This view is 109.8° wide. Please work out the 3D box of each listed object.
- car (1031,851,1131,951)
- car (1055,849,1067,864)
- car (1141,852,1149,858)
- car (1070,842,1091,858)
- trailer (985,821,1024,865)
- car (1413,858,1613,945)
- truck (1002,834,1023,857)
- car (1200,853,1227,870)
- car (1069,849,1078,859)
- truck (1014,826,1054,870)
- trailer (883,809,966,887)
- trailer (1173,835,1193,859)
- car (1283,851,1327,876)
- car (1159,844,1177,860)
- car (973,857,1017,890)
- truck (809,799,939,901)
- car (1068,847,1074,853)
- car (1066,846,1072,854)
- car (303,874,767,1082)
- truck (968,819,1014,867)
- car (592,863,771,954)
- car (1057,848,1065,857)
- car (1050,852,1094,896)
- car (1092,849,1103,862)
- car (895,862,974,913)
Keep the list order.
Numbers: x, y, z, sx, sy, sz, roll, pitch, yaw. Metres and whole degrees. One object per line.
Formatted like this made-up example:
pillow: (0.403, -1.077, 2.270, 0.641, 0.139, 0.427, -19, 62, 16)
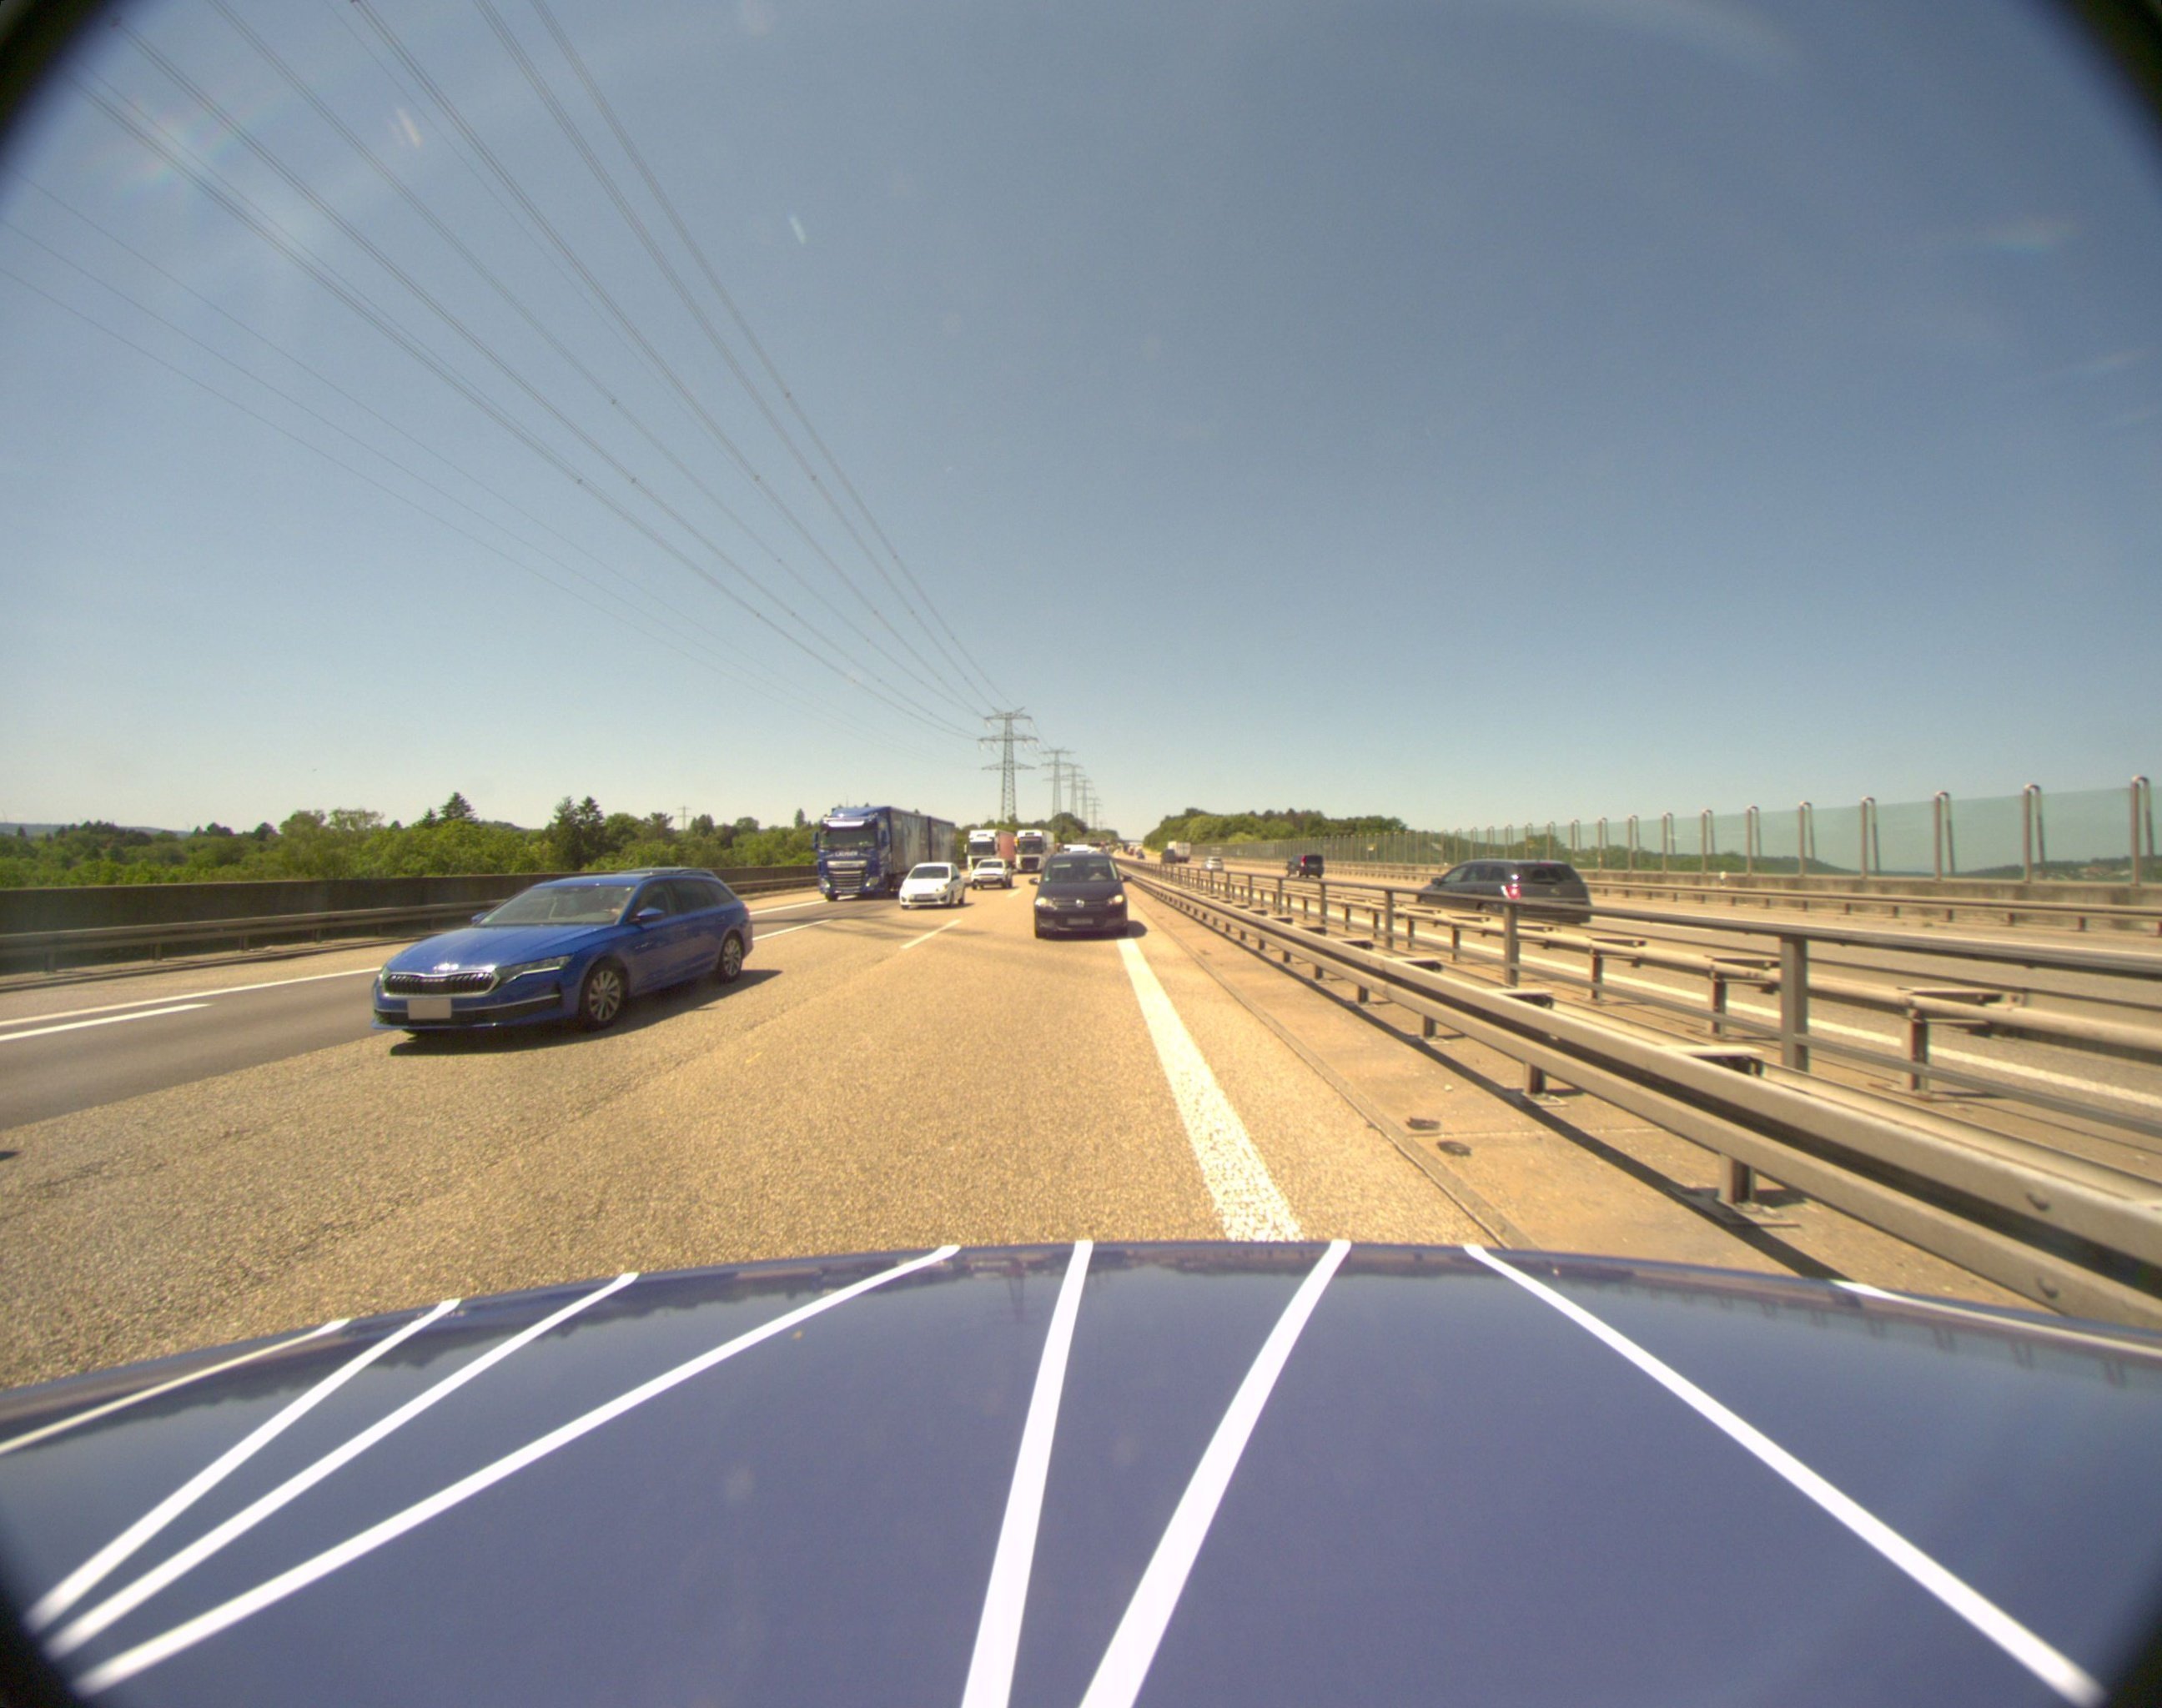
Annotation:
car: (0.017, 0.816, 15.351, 1.713, 1.669, 3.931, -2, 1, 0)
car: (-3.042, 0.340, 116.259, 1.704, 2.116, 4.000, 2, 1, 1)
car: (16.263, 0.338, 194.249, 1.777, 1.483, 4.605, 0, 0, 1)
car: (-0.024, -0.396, 77.857, 1.924, 1.501, 3.996, -2, 1, 1)
trailer: (-7.671, -1.097, 77.409, 2.608, 4.094, 9.084, -2, 1, 1)
car: (8.579, 0.853, 15.580, 1.766, 1.499, 4.223, 0, 0, 1)
truck: (-8.930, -1.134, 99.941, 2.251, 2.965, 6.242, 2, 1, -1)
car: (13.507, 0.749, 77.514, 1.998, 1.535, 4.385, 1, 1, 1)
car: (-1.573, 0.065, 164.448, 1.704, 2.116, 4.000, 2, 1, 1)
truck: (-4.319, -0.614, 71.293, 2.849, 3.804, 8.265, -2, 1, 2)
trailer: (-9.038, -0.383, 44.984, 2.835, 4.065, 8.637, -2, 1, 1)
trailer: (19.160, -1.303, 143.320, 2.912, 4.282, 13.663, 1, 1, 4)
car: (17.822, 0.719, 60.714, 1.962, 1.894, 4.949, 1, 1, -1)
car: (14.178, -0.401, 124.542, 1.999, 2.567, 6.649, 1, 1, -1)
car: (-4.435, 0.988, 39.742, 1.712, 1.501, 4.144, -2, 1, 1)
truck: (-9.198, -0.220, 35.404, 2.859, 3.927, 10.393, -2, 1, 1)
car: (-3.308, -1.316, 246.924, 1.704, 2.116, 4.000, 2, 1, 1)
car: (-3.377, -1.058, 213.753, 1.704, 2.116, 4.000, 2, 1, 1)
car: (-5.341, 1.068, 8.405, 1.712, 1.443, 4.563, -2, 1, 1)
truck: (-8.031, -0.969, 68.747, 2.608, 3.964, 8.265, -2, 1, 3)
car: (-8.738, 1.102, 17.075, 1.712, 1.645, 4.117, -2, 1, 1)
car: (-4.827, -0.407, 185.870, 1.704, 2.116, 4.000, 2, 1, 1)
car: (-0.361, 0.795, 32.579, 1.713, 1.669, 3.931, -2, 1, 0)
car: (2.719, 0.259, 126.930, 1.704, 2.116, 4.000, -2, 1, 1)
car: (-4.807, 1.056, 25.538, 1.712, 1.443, 4.144, -2, 1, 1)
